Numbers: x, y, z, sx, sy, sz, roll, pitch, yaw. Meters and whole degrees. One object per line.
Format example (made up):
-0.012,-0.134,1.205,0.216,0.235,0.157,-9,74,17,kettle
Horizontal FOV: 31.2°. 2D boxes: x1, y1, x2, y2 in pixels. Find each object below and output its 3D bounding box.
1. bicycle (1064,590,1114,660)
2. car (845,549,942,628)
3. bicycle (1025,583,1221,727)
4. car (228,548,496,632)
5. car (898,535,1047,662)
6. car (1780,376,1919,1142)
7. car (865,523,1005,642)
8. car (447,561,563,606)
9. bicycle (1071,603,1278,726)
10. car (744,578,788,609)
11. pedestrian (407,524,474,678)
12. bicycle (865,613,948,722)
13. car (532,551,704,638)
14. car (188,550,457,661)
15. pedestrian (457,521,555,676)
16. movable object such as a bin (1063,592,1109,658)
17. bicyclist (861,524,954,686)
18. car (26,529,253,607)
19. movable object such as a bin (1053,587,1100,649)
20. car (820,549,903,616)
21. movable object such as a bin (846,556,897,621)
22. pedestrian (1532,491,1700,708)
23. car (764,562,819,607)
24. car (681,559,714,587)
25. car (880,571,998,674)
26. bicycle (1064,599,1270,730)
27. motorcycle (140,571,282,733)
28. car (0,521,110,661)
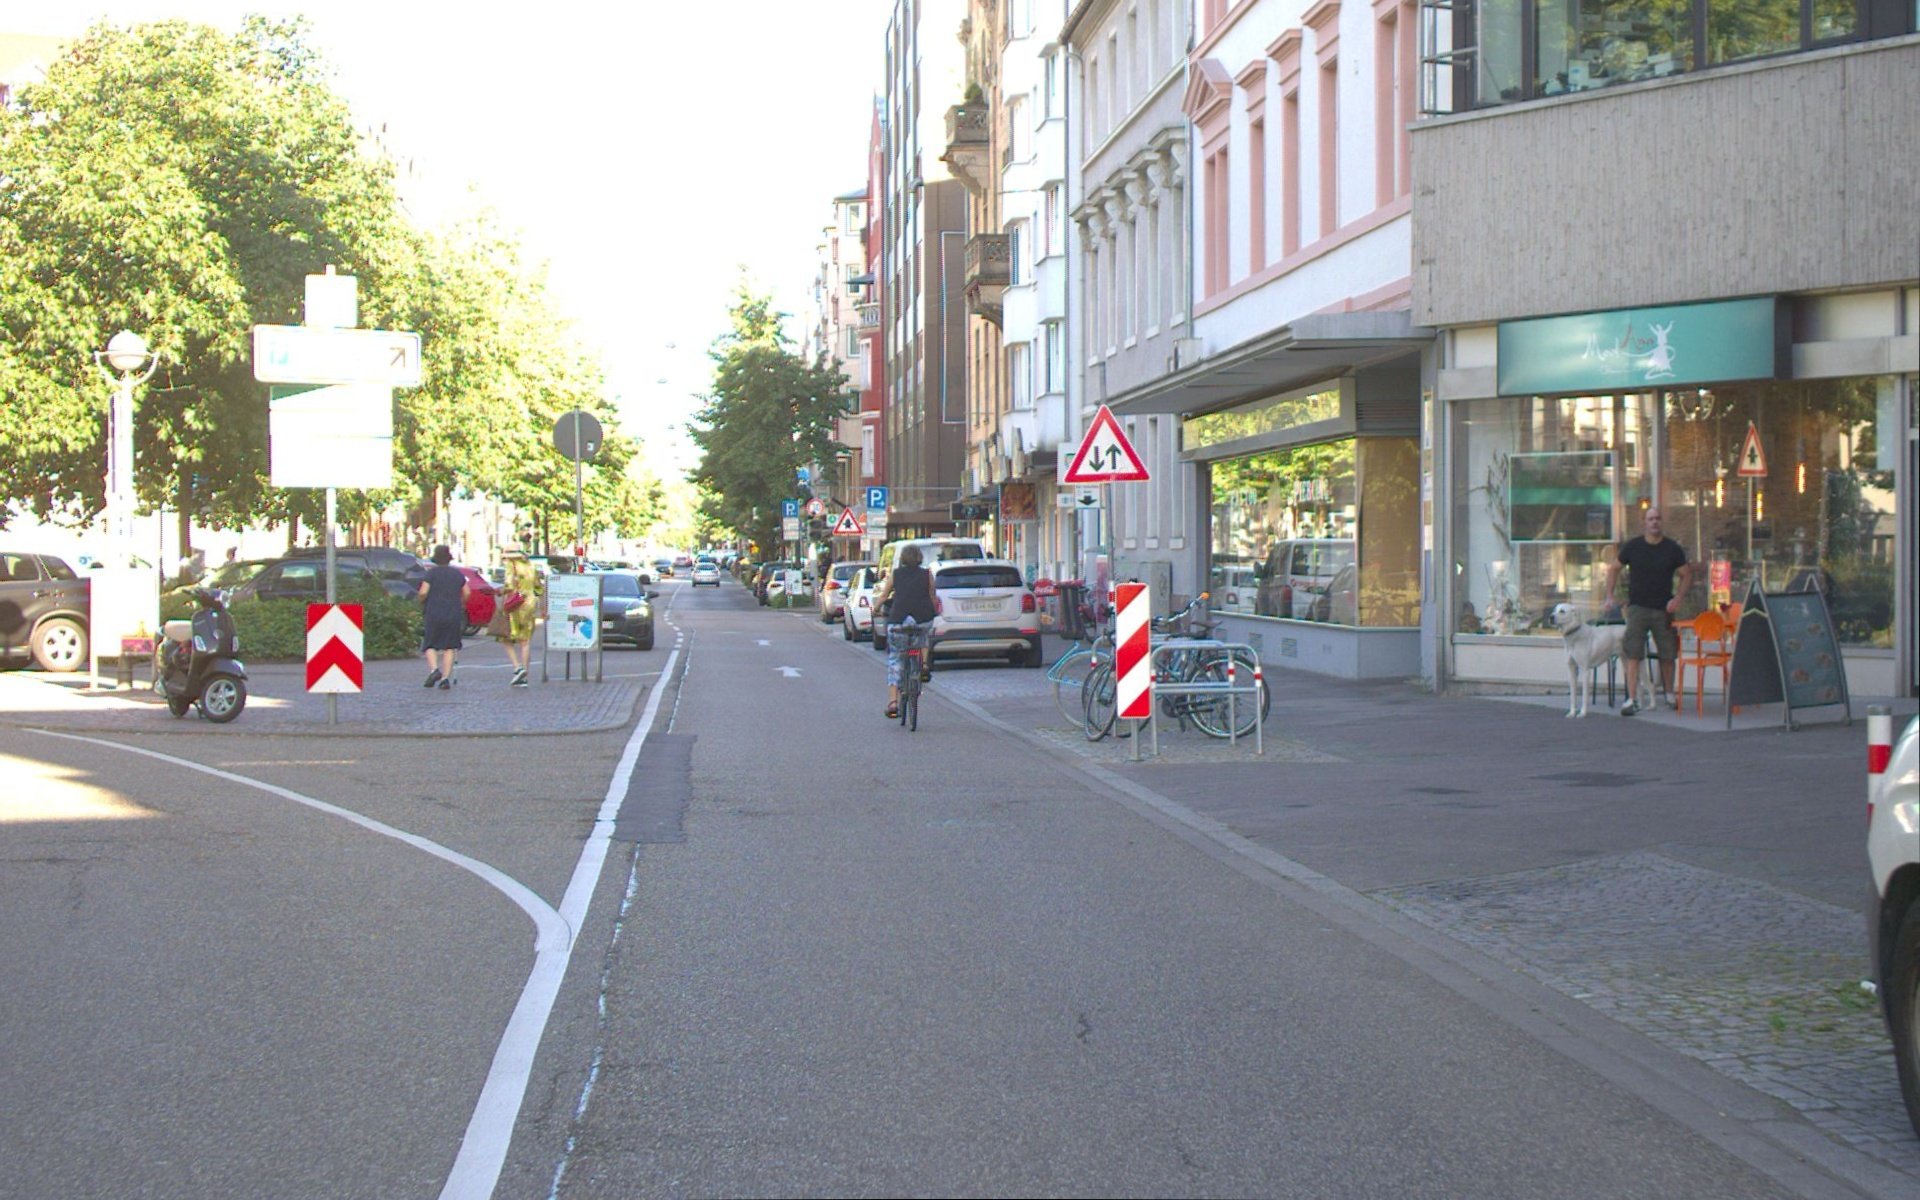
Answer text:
2.252,0.437,59.716,0.483,1.182,1.718,-2,-2,14,bicycle
-1.375,-0.220,70.071,1.718,1.510,3.583,-2,-1,-5,car
1.466,0.490,30.856,1.622,1.239,0.658,1,-1,16,bicycle
-11.704,-0.175,67.364,4.834,1.483,1.765,2,-1,-28,car
0.126,0.012,50.580,1.745,1.733,4.961,2,-1,-4,car
3.358,0.383,7.035,1.993,1.806,4.310,2,-1,-5,car
-0.485,-0.323,60.574,1.993,1.998,5.118,0,0,-6,car
-16.443,-0.582,124.402,3.986,1.503,2.000,2,0,-3,car
1.839,0.553,29.476,1.704,1.001,0.427,1,-1,12,bicycle
-9.303,-0.314,164.561,1.993,1.448,4.001,1,0,-5,car
-5.702,0.014,37.763,0.636,1.666,0.693,1,-1,-4,pedestrian
-0.513,0.617,31.931,0.652,0.955,2.698,2,-1,-3,bicycle
-6.058,-0.070,61.470,1.912,1.412,4.808,1,-1,8,car
-10.401,0.088,56.053,3.986,1.662,2.001,2,0,-20,car
-5.046,-0.015,38.255,0.803,1.693,0.669,1,-1,26,pedestrian
2.264,0.450,61.774,0.768,1.157,0.578,2,-1,-1,movable object such as a bin
-0.493,0.053,31.840,0.786,1.448,1.096,2,-1,-3,bicyclist
-21.172,-0.807,88.768,5.263,1.794,2.163,2,-1,-31,car
2.157,0.335,63.754,0.838,1.134,0.699,0,-1,-1,movable object such as a bin
-2.629,-0.438,91.106,1.898,1.669,4.825,2,-1,-5,car
-2.068,-0.275,80.737,1.073,1.452,1.492,-2,1,1,movable object such as a bin
5.407,0.002,28.397,1.132,1.737,1.022,2,-1,-2,pedestrian
-6.479,-0.575,132.314,1.993,1.612,4.010,2,-1,-2,car
-15.732,-1.611,205.918,1.870,1.550,4.000,2,-1,-4,car
-0.372,0.373,55.622,1.699,1.598,3.757,0,-1,-4,car
1.750,0.546,29.103,1.680,1.058,0.343,1,-1,12,bicycle
-6.590,0.451,30.180,0.745,1.369,1.761,2,-1,-28,motorcycle
-12.447,-0.105,41.490,3.859,1.676,1.811,0,0,-37,car
